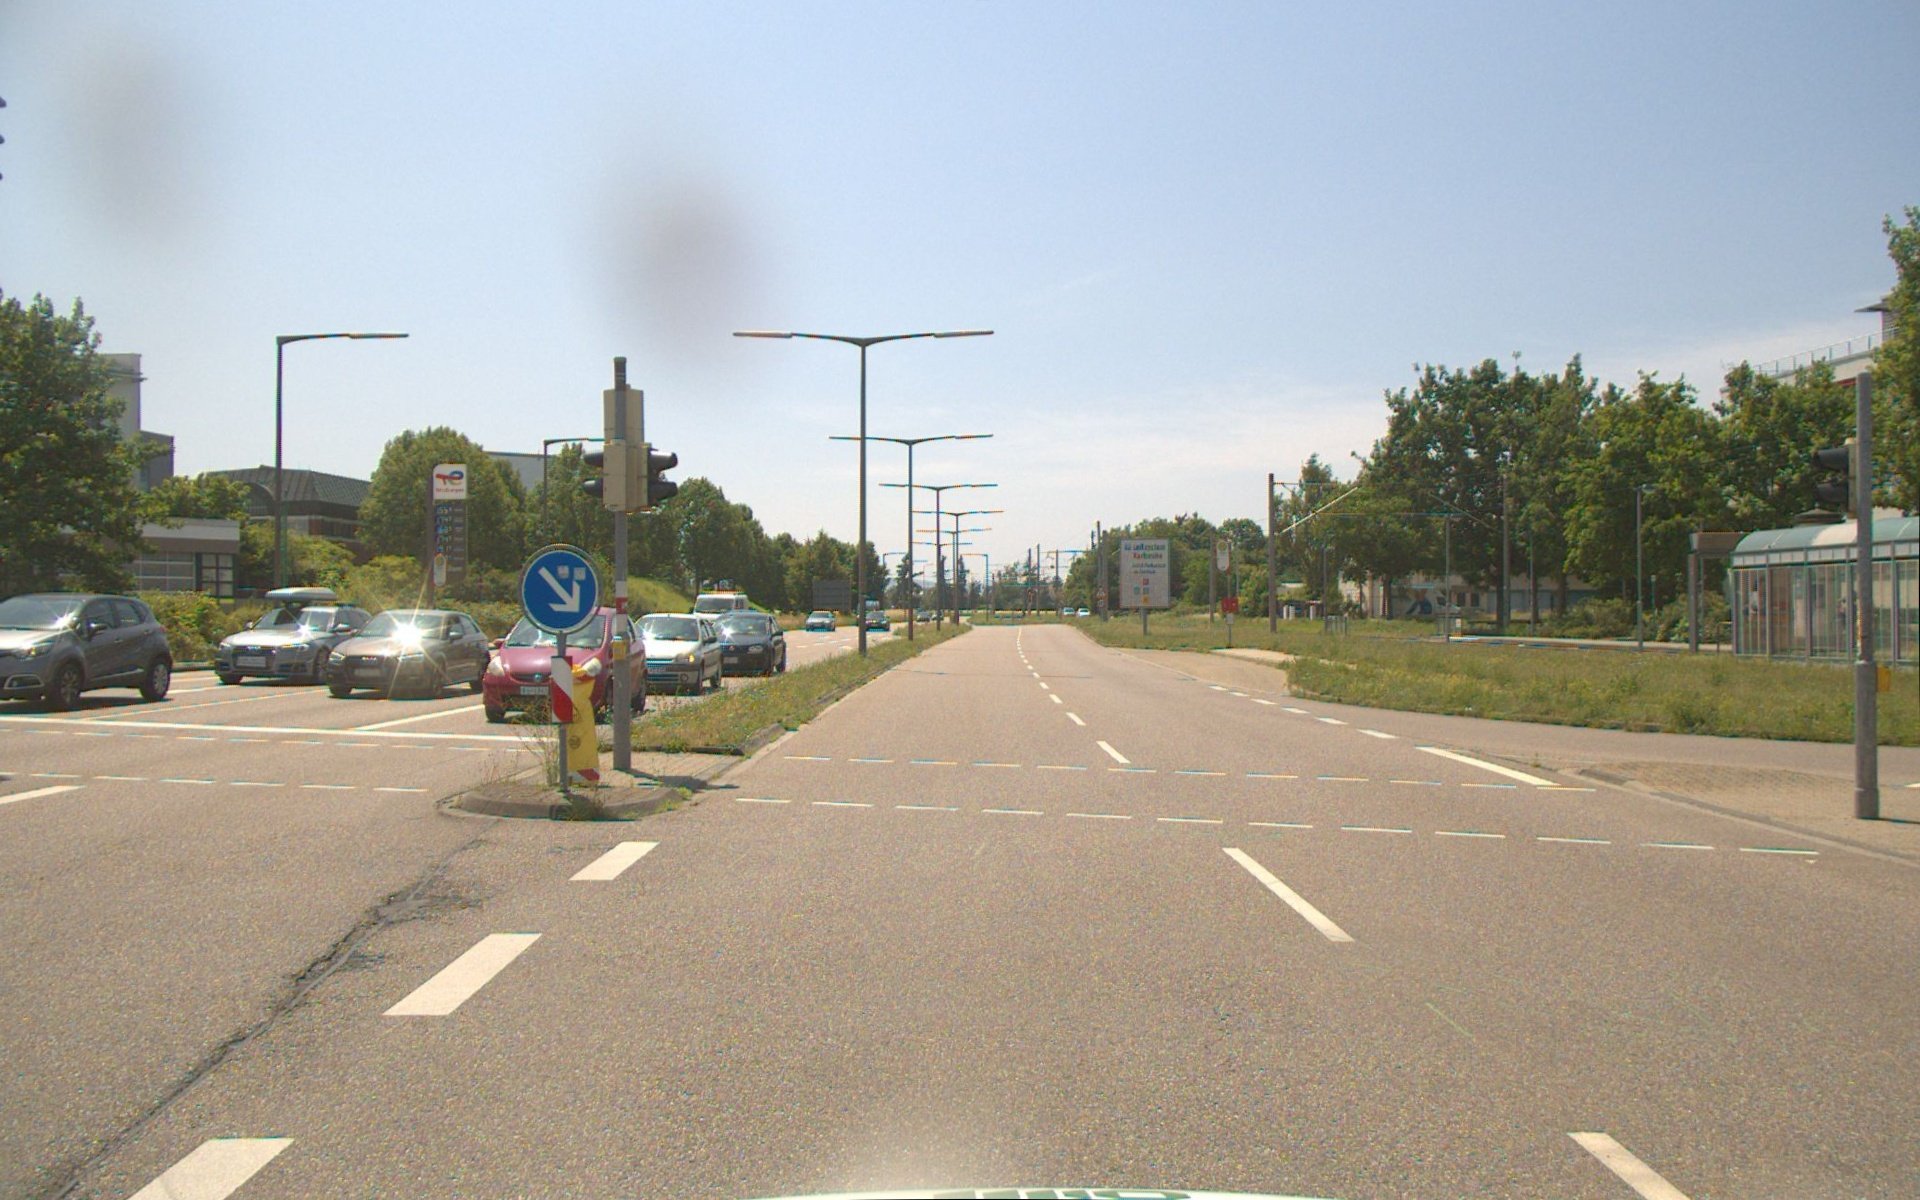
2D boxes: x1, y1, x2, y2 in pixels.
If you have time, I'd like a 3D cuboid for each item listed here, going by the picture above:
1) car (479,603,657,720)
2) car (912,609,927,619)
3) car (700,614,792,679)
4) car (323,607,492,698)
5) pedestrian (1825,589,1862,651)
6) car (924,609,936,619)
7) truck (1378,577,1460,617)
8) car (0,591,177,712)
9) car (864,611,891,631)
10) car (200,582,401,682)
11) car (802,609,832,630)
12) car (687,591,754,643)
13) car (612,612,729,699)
[{"bbox_3d":[-5.432,0.806,23.382,1.624,1.516,3.999,0,0,-1],"label":"car"},{"bbox_3d":[-5.920,2.071,240.436,1.952,1.383,4.666,-2,0,1],"label":"car"},{"bbox_3d":[-5.017,1.060,39.220,1.641,1.459,4.190,1,0,0],"label":"car"},{"bbox_3d":[-9.302,0.846,28.161,1.564,1.409,4.002,1,0,-1],"label":"car"},{"bbox_3d":[26.746,0.608,50.090,0.682,1.874,0.709,1,-1,-15],"label":"pedestrian"},{"bbox_3d":[-4.598,2.112,253.201,1.657,1.518,4.000,-1,0,0],"label":"car"},{"bbox_3d":[36.108,-0.235,130.091,5.729,2.893,2.316,-2,-1,-7],"label":"truck"},{"bbox_3d":[-12.850,0.672,23.447,1.624,1.566,3.999,1,0,-1],"label":"car"},{"bbox_3d":[-6.244,1.592,125.412,1.695,1.483,4.565,0,0,2],"label":"car"},{"bbox_3d":[-12.585,0.588,31.961,1.925,1.781,5.021,0,0,-1],"label":"car"},{"bbox_3d":[-10.452,1.421,121.446,1.793,1.474,4.851,0,0,0],"label":"car"},{"bbox_3d":[-11.330,0.816,78.629,2.203,2.313,5.449,1,-1,1],"label":"car"},{"bbox_3d":[-5.306,0.984,30.704,1.529,1.448,3.853,1,0,-1],"label":"car"}]
